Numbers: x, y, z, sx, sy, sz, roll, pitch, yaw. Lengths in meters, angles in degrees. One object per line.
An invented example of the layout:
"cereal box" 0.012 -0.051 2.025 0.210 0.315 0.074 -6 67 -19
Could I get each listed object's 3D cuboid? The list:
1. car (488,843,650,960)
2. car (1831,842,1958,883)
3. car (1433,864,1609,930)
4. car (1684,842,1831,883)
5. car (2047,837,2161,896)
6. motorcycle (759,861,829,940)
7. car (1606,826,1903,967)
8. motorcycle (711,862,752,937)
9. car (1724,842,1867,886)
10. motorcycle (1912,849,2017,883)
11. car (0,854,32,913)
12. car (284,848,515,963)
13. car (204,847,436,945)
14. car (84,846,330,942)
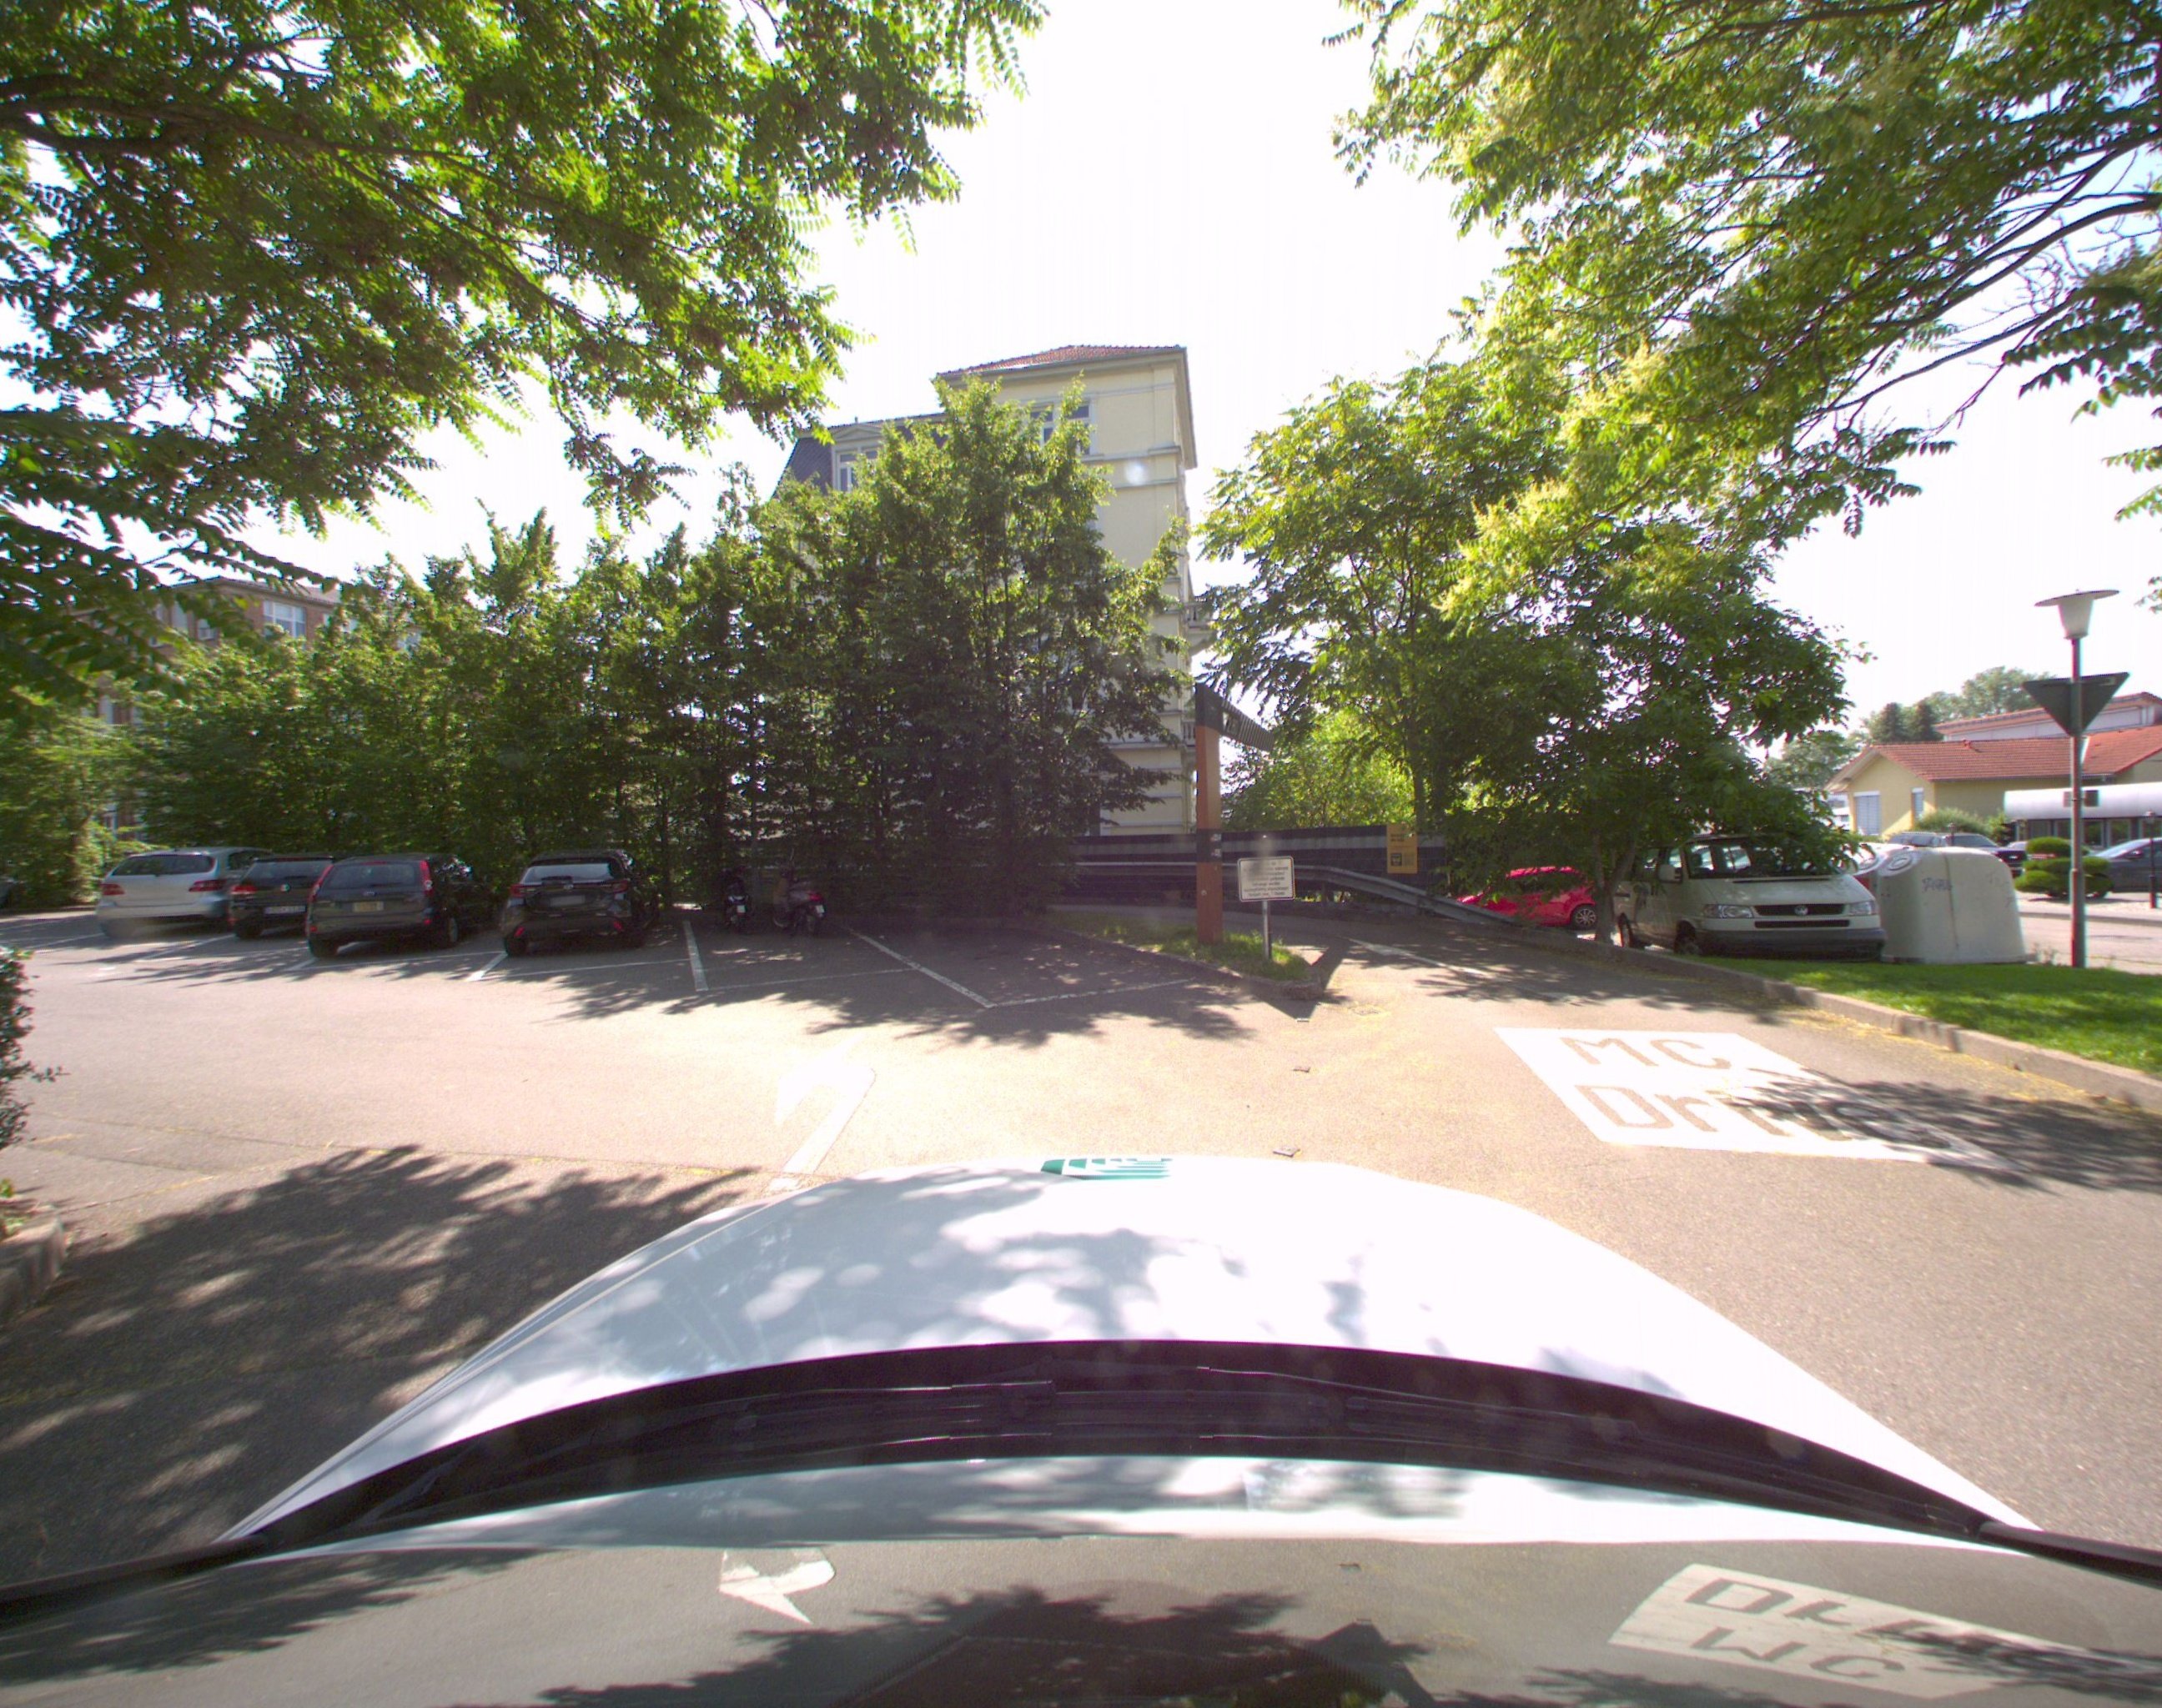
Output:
"car" -8.096 0.623 13.211 1.664 1.469 3.873 -3 3 -25
"car" 33.974 0.294 34.183 1.979 1.585 4.015 0 1 14
"car" 10.308 1.006 19.301 3.380 1.378 1.492 -2 2 13
"car" 29.202 0.340 35.284 4.617 1.725 2.003 0 0 4
"car" 30.053 0.315 22.292 4.279 1.585 2.013 1 1 35
"motorcycle" -4.677 0.714 13.217 0.573 1.169 1.587 -2 1 -38
"car" 9.242 0.391 11.779 1.934 1.583 5.059 0 2 23
"motorcycle" -5.947 0.732 13.820 0.476 1.140 1.591 -2 2 -28
"car" 28.829 0.383 32.981 3.969 1.725 2.003 0 0 4
"motorcycle" 32.926 0.434 30.384 2.698 1.226 1.000 0 1 4
"car" -27.568 0.809 19.343 1.779 1.475 3.963 -3 2 -29
"car" -10.984 0.706 13.497 1.706 1.453 3.971 -2 3 -22
"car" -14.406 0.676 15.750 1.774 1.469 3.974 -2 3 -20
"car" -17.314 0.679 16.445 1.775 1.571 3.972 -2 2 -21
